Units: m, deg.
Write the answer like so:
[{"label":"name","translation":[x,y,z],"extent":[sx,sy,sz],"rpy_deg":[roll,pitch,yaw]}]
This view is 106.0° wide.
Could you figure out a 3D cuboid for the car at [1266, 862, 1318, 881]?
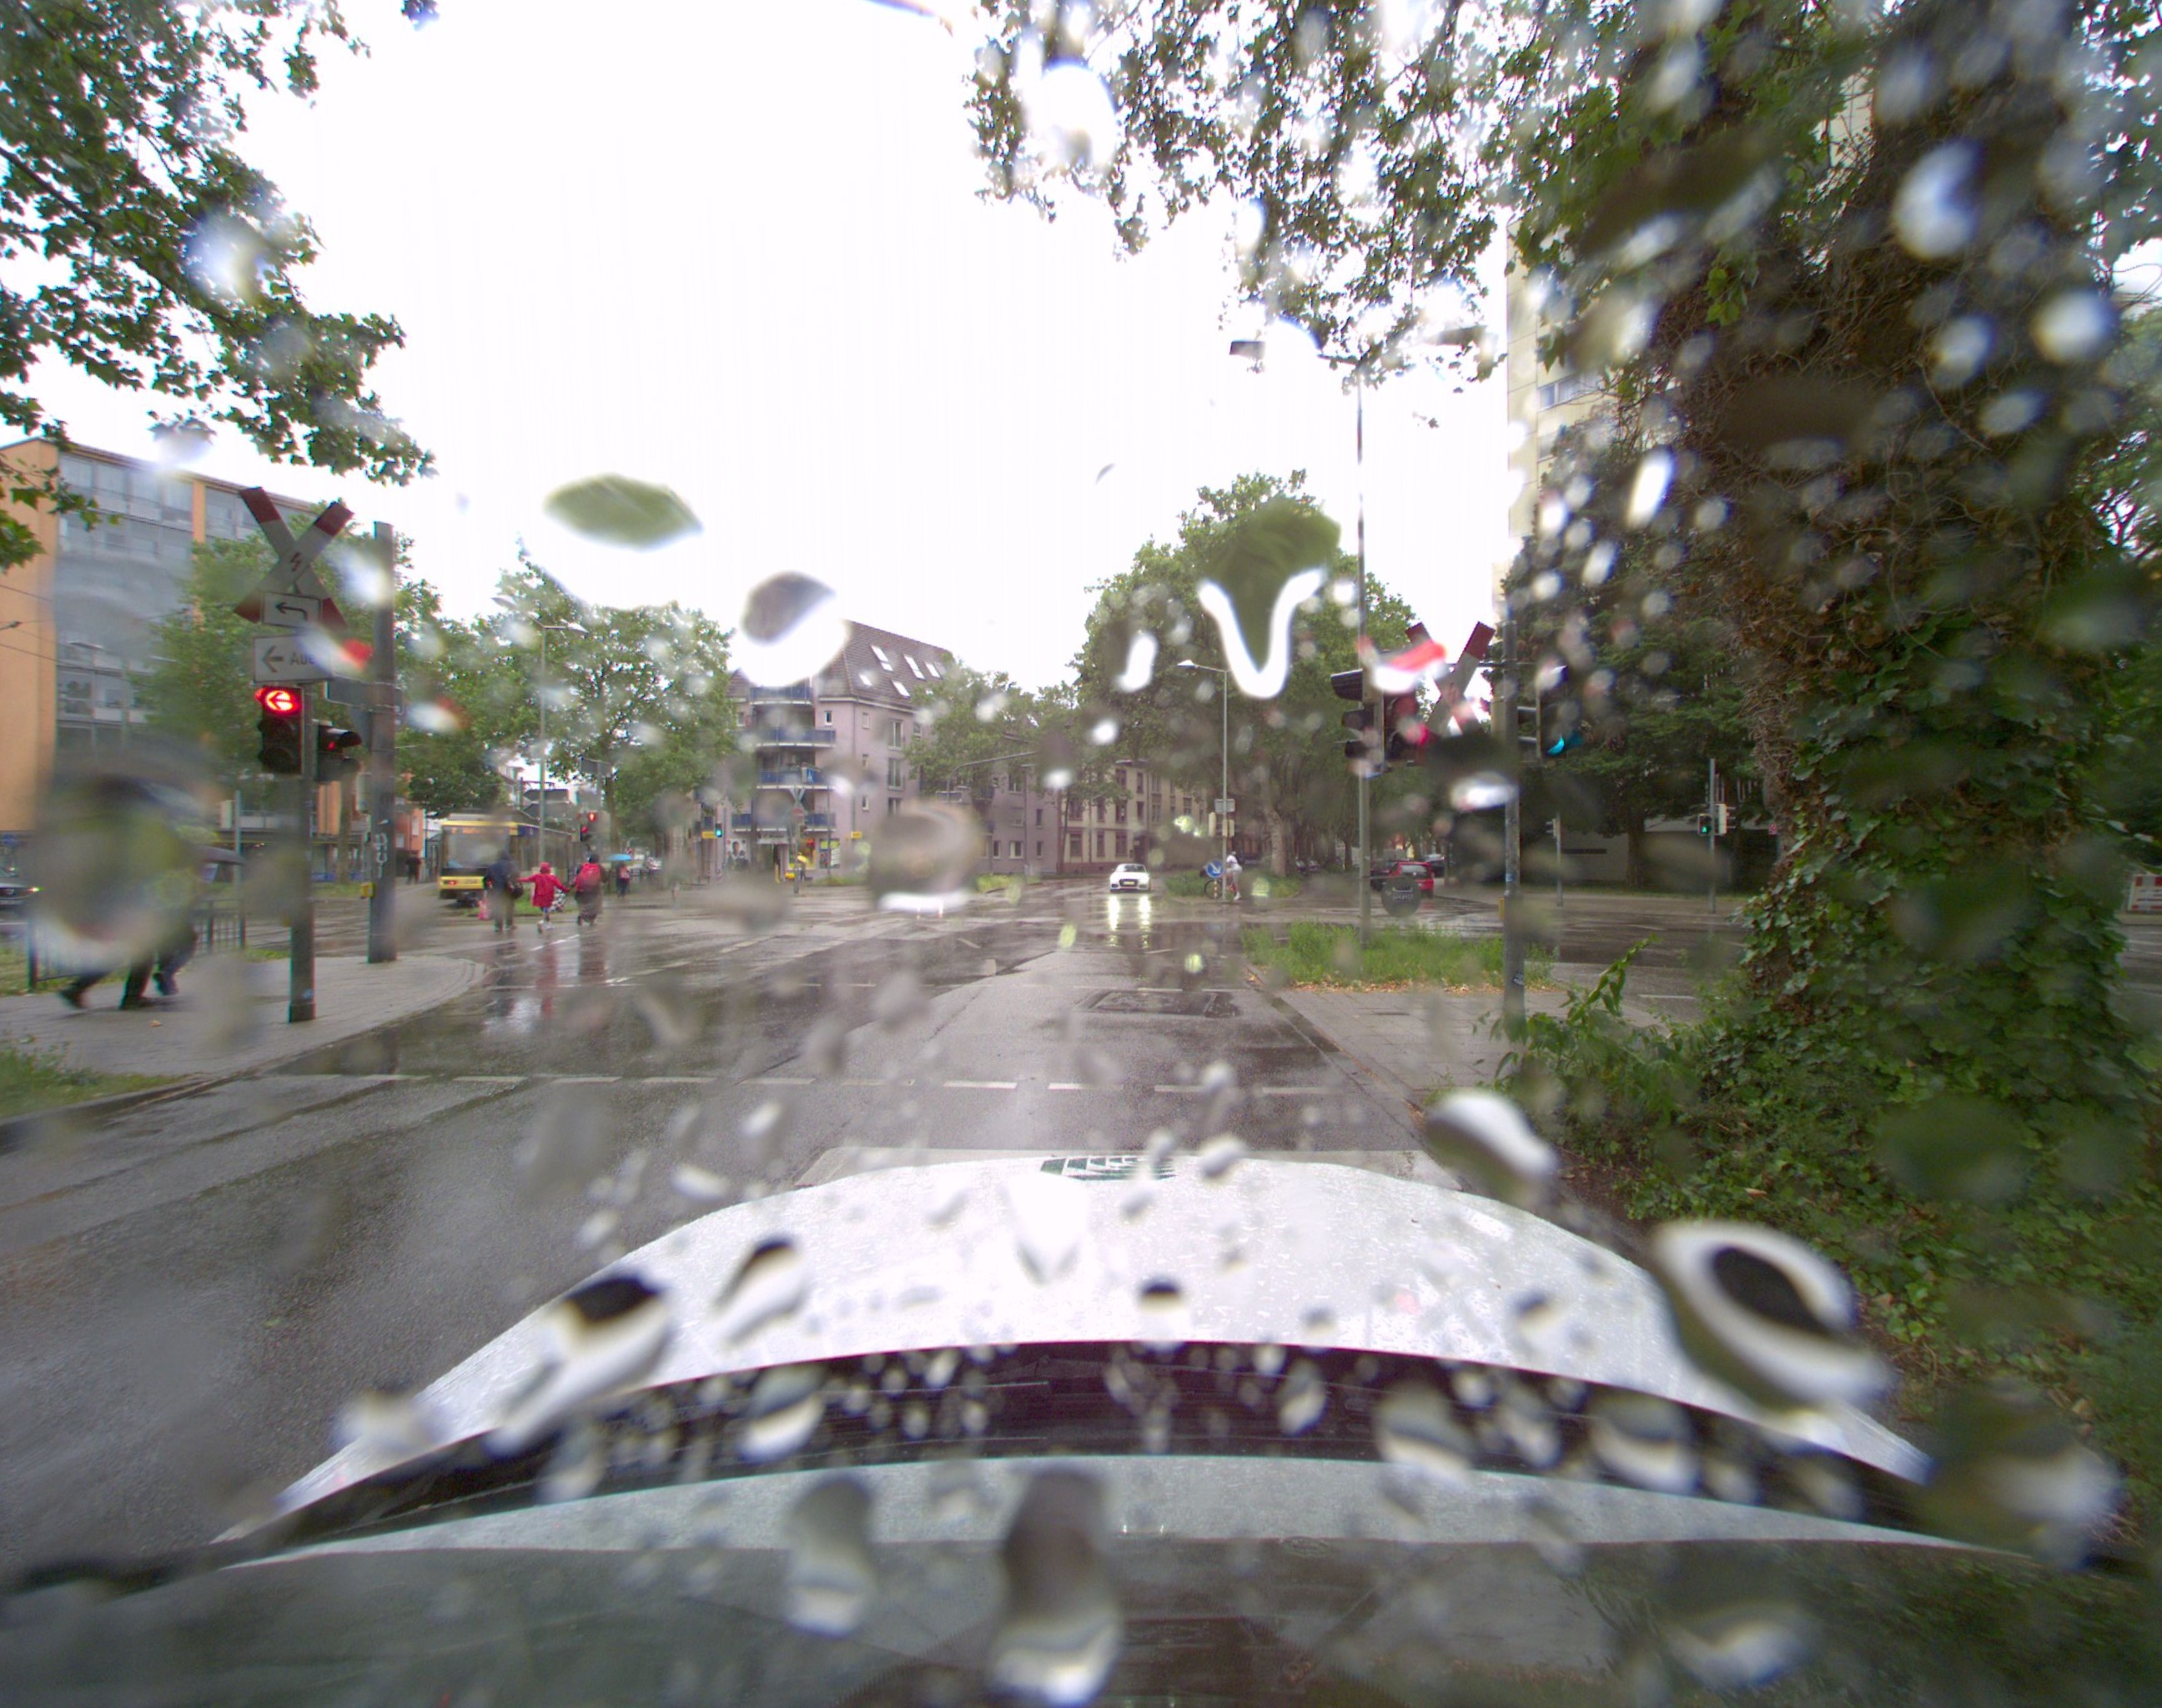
[{"label":"car","translation":[16.919,1.368,65.214],"extent":[3.958,1.486,2.008],"rpy_deg":[-1,-1,14]}]

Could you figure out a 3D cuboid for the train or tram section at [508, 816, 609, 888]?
[{"label":"train or tram section","translation":[-29.740,-0.089,47.003],"extent":[2.873,3.545,13.606],"rpy_deg":[0,0,-24]}]

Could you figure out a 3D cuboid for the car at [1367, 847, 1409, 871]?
[{"label":"car","translation":[38.989,0.639,103.568],"extent":[2.006,2.948,4.726],"rpy_deg":[0,-1,-29]}]

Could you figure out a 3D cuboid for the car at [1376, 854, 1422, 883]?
[{"label":"car","translation":[15.896,0.696,40.870],"extent":[1.770,1.348,3.945],"rpy_deg":[0,1,16]}]

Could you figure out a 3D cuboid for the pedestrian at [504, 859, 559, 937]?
[{"label":"pedestrian","translation":[-11.053,0.865,16.411],"extent":[0.681,1.520,0.658],"rpy_deg":[-1,0,-7]}]

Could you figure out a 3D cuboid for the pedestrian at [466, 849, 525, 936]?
[{"label":"pedestrian","translation":[-12.148,0.777,16.908],"extent":[0.844,1.698,0.680],"rpy_deg":[-4,3,-42]}]

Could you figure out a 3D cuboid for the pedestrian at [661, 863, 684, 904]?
[{"label":"pedestrian","translation":[-14.329,1.035,28.568],"extent":[0.653,1.396,0.774],"rpy_deg":[0,0,-33]}]

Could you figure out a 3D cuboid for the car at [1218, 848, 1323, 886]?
[{"label":"car","translation":[7.608,0.520,32.699],"extent":[3.958,1.486,2.008],"rpy_deg":[-1,-1,14]}]

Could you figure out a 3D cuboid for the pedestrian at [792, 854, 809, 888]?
[{"label":"pedestrian","translation":[-17.862,1.096,51.926],"extent":[0.908,2.151,0.884],"rpy_deg":[0,-1,-10]}]

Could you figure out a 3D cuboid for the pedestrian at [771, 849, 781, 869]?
[{"label":"pedestrian","translation":[-20.681,0.322,55.240],"extent":[0.442,1.329,0.562],"rpy_deg":[0,-1,4]}]

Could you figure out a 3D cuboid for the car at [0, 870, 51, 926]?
[{"label":"car","translation":[-32.253,1.265,23.433],"extent":[3.994,1.530,1.615],"rpy_deg":[0,1,12]}]

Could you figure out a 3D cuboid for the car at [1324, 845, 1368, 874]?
[{"label":"car","translation":[28.323,0.586,87.216],"extent":[2.040,2.948,4.742],"rpy_deg":[0,-1,-18]}]

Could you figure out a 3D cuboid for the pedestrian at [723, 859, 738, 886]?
[{"label":"pedestrian","translation":[-20.453,1.061,47.519],"extent":[0.754,1.533,0.784],"rpy_deg":[0,-1,-31]}]

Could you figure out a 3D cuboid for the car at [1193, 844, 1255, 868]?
[{"label":"car","translation":[9.474,0.142,53.873],"extent":[3.838,1.486,1.723],"rpy_deg":[-1,-1,14]}]

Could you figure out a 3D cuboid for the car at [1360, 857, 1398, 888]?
[{"label":"car","translation":[17.326,1.063,47.425],"extent":[1.769,1.727,4.017],"rpy_deg":[-1,-1,16]}]

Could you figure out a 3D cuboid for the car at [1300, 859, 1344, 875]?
[{"label":"car","translation":[23.138,1.253,78.260],"extent":[3.958,1.547,2.008],"rpy_deg":[-1,-1,14]}]

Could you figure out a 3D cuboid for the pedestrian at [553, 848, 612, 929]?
[{"label":"pedestrian","translation":[-10.411,0.698,17.042],"extent":[0.728,1.624,0.816],"rpy_deg":[-1,1,-5]}]

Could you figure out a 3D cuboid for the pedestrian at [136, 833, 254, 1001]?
[{"label":"pedestrian","translation":[-10.485,0.698,9.679],"extent":[0.876,1.864,0.881],"rpy_deg":[0,0,-43]}]

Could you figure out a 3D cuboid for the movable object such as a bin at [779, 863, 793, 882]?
[{"label":"movable object such as a bin","translation":[-18.721,1.165,51.715],"extent":[0.750,1.236,0.665],"rpy_deg":[0,-1,-10]}]

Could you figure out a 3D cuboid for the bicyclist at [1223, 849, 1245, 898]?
[{"label":"bicyclist","translation":[5.692,0.715,30.366],"extent":[0.790,1.786,0.699],"rpy_deg":[-1,-1,9]}]

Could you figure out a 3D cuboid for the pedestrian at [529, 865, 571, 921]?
[{"label":"pedestrian","translation":[-13.325,0.964,20.460],"extent":[0.657,1.349,0.706],"rpy_deg":[0,0,-12]}]

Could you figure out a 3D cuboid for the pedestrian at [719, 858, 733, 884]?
[{"label":"pedestrian","translation":[-22.102,1.037,50.697],"extent":[0.677,1.600,0.959],"rpy_deg":[0,-1,-29]}]

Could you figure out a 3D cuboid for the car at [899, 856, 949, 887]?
[{"label":"car","translation":[-8.005,0.855,41.840],"extent":[1.745,1.512,3.839],"rpy_deg":[0,0,1]}]

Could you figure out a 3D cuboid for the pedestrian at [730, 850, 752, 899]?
[{"label":"pedestrian","translation":[-13.198,0.779,31.626],"extent":[0.791,1.855,0.676],"rpy_deg":[0,0,-22]}]

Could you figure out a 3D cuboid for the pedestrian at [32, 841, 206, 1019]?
[{"label":"pedestrian","translation":[-10.071,0.749,8.575],"extent":[0.867,1.755,0.826],"rpy_deg":[0,0,-18]}]

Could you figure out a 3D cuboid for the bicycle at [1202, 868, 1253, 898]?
[{"label":"bicycle","translation":[5.459,1.069,30.398],"extent":[1.862,1.081,0.658],"rpy_deg":[-1,-1,9]}]

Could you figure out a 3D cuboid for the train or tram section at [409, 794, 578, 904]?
[{"label":"train or tram section","translation":[-23.677,-0.123,33.898],"extent":[2.874,3.545,15.245],"rpy_deg":[0,0,-25]}]

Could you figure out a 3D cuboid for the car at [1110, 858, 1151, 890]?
[{"label":"car","translation":[2.440,0.936,39.216],"extent":[1.875,1.436,4.006],"rpy_deg":[0,0,5]}]

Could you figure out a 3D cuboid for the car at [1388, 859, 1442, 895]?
[{"label":"car","translation":[14.827,0.981,36.334],"extent":[1.778,1.498,4.017],"rpy_deg":[0,0,16]}]

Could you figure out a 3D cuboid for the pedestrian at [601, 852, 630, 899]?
[{"label":"pedestrian","translation":[-18.194,0.828,31.853],"extent":[0.962,1.766,0.944],"rpy_deg":[0,-1,-28]}]

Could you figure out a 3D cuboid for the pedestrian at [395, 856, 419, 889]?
[{"label":"pedestrian","translation":[-36.335,0.989,43.921],"extent":[0.965,1.766,0.941],"rpy_deg":[0,-1,-39]}]
